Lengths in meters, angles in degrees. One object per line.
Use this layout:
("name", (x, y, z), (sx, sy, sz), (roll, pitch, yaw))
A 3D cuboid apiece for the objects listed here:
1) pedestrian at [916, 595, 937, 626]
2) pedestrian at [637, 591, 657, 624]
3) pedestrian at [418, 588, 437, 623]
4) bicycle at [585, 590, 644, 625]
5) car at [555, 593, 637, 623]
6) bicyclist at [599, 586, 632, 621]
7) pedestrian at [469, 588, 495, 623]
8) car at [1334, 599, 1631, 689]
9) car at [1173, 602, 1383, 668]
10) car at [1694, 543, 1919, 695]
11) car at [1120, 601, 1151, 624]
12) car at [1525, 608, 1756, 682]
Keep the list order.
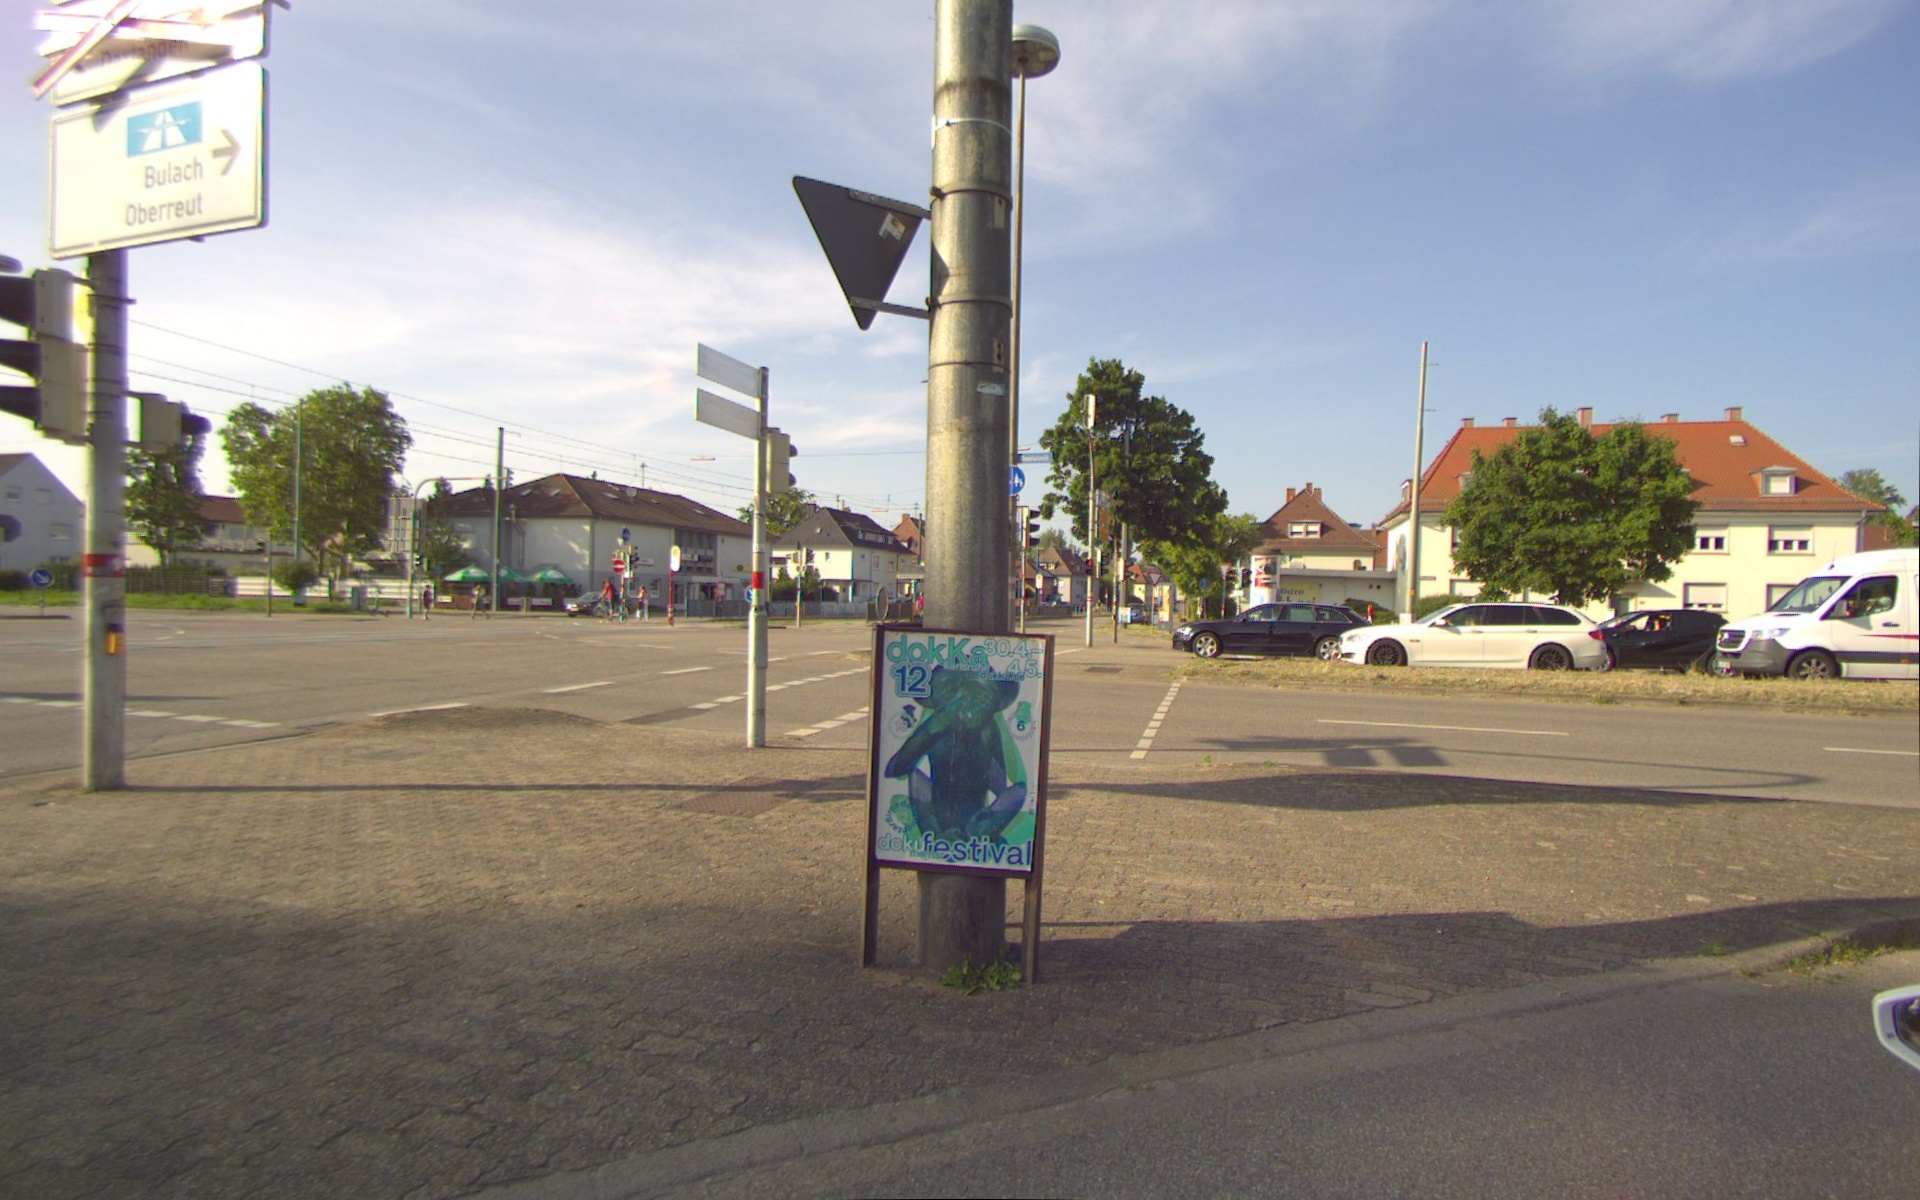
("pedestrian", (-1.685, 0.518, 50.292), (0.740, 1.518, 0.827), (3, 0, 17))
("pedestrian", (-14.211, 0.328, 45.588), (0.568, 1.450, 0.547), (3, 0, 15))
("pedestrian", (-24.336, 0.252, 45.940), (0.503, 1.620, 0.540), (1, 0, 14))
("bicycle", (-14.618, 0.309, 42.504), (2.039, 1.365, 1.109), (3, 0, 6))
("car", (-19.975, 0.430, 55.351), (1.960, 1.528, 4.610), (1, 0, 14))
("bicyclist", (-14.566, 0.154, 42.491), (0.869, 1.450, 1.137), (3, 0, 6))
("pedestrian", (-22.448, 0.240, 47.157), (0.735, 1.620, 0.813), (1, 0, 13))
("car", (10.310, 0.831, 20.272), (5.009, 1.584, 1.840), (1, 0, 16))
("car", (7.737, 0.807, 24.719), (4.742, 1.430, 1.716), (1, 0, 16))
("car", (17.427, 0.365, 18.353), (6.103, 2.618, 2.001), (1, 0, 16))
("car", (12.204, 0.881, 69.748), (1.646, 1.416, 4.002), (3, 0, 15))
("car", (15.117, 0.964, 22.537), (3.920, 1.472, 1.716), (1, 0, 16))
